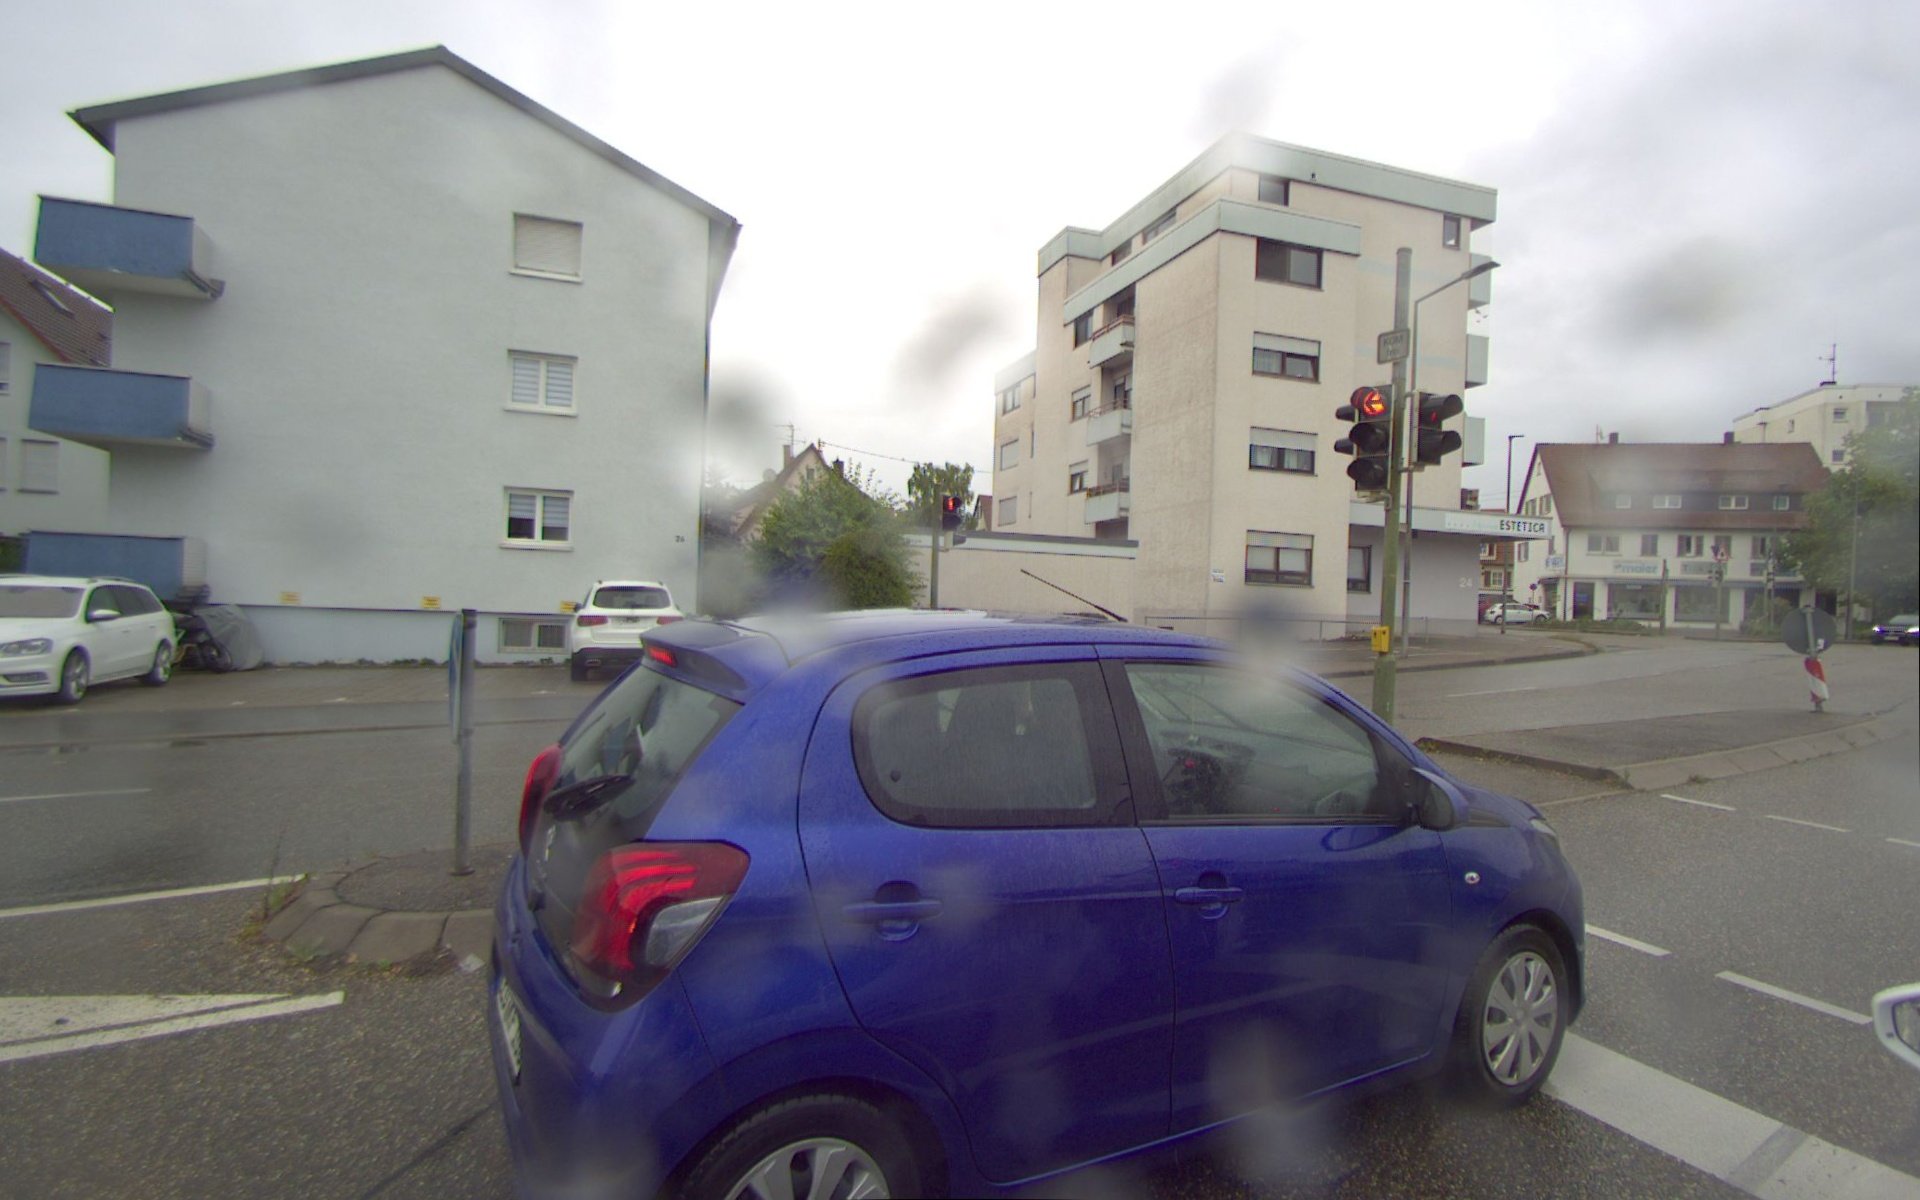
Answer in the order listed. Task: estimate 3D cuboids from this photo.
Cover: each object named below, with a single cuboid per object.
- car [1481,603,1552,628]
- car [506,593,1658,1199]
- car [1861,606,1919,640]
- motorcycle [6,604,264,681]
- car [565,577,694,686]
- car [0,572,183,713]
[{"bbox_3d":[38.100,1.020,68.819,3.887,1.593,1.873,1,1,17],"label":"car"},{"bbox_3d":[0.440,0.734,3.105,3.231,1.429,1.571,1,1,-30],"label":"car"},{"bbox_3d":[42.380,1.034,45.101,3.785,1.439,1.770,1,0,-30],"label":"car"},{"bbox_3d":[-13.096,0.633,16.080,0.864,1.115,3.113,2,1,43],"label":"motorcycle"},{"bbox_3d":[-5.880,0.497,17.831,1.909,1.658,4.446,1,0,-19],"label":"car"},{"bbox_3d":[-11.346,0.439,12.308,1.878,1.493,4.208,1,0,-24],"label":"car"}]
